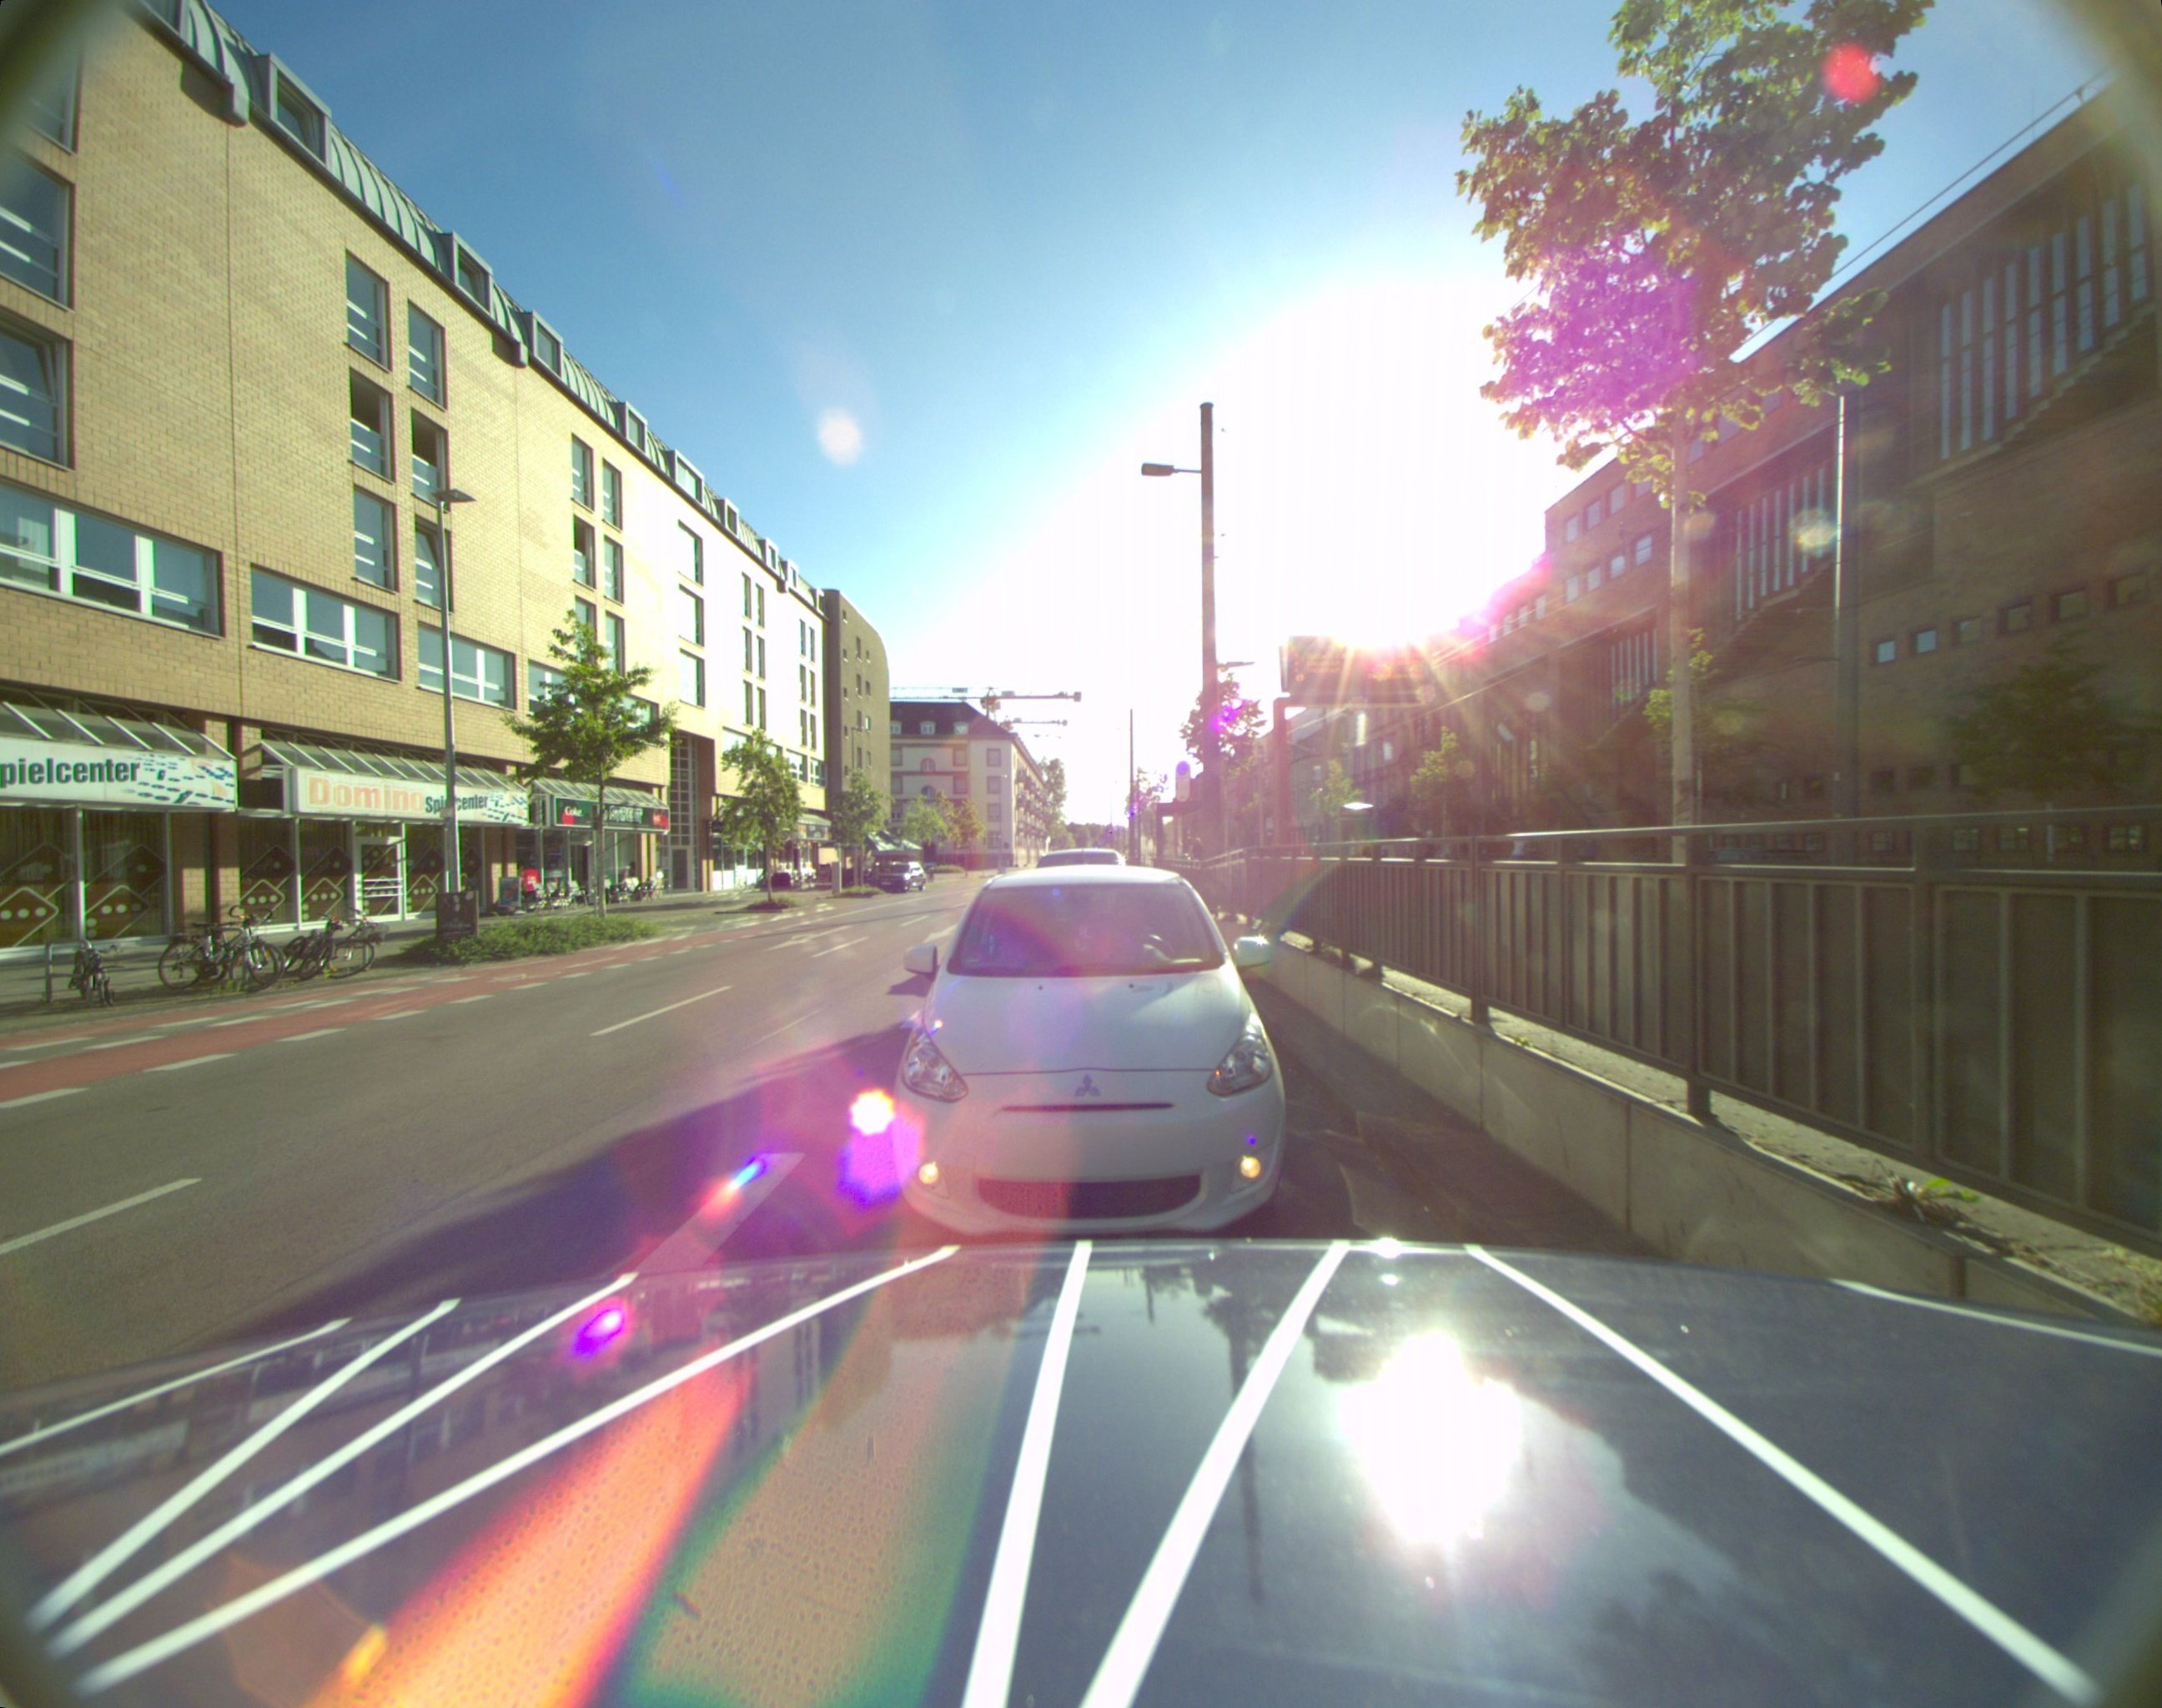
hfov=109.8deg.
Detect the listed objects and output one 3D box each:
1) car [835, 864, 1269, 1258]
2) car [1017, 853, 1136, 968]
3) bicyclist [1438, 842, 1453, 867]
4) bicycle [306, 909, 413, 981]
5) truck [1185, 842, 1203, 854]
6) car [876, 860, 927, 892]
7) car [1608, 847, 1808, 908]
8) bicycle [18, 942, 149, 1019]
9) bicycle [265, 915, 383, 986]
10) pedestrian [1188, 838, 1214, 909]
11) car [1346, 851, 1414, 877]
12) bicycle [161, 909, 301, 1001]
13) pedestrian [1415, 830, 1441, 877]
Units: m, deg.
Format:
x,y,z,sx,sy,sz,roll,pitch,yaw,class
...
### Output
x,y,z,sx,sy,sz,roll,pitch,yaw,class
-0.117,0.883,5.225,1.720,1.422,4.215,-2,1,0,car
-0.069,0.842,13.505,1.720,1.591,4.215,-2,1,0,car
22.701,0.032,47.270,0.588,1.525,0.650,-2,2,1,bicyclist
-11.884,1.486,12.511,1.835,1.050,0.350,1,2,15,bicycle
17.712,-0.899,118.988,1.999,1.868,5.155,1,0,0,truck
-9.775,1.150,41.622,1.779,1.630,4.000,-1,0,1,car
16.975,0.554,20.899,1.830,1.422,4.239,-2,1,-3,car
-12.963,1.620,9.872,1.772,0.827,0.366,1,2,15,bicycle
-12.002,1.510,12.046,1.835,0.980,0.449,1,2,15,bicycle
4.190,0.676,26.526,0.684,2.428,0.626,-2,2,-2,pedestrian
16.954,0.540,43.323,1.830,1.422,4.528,-1,0,-3,car
-12.282,1.430,10.982,1.835,1.156,0.565,1,2,15,bicycle
13.636,-0.029,29.863,0.685,1.797,0.668,-2,2,0,pedestrian
